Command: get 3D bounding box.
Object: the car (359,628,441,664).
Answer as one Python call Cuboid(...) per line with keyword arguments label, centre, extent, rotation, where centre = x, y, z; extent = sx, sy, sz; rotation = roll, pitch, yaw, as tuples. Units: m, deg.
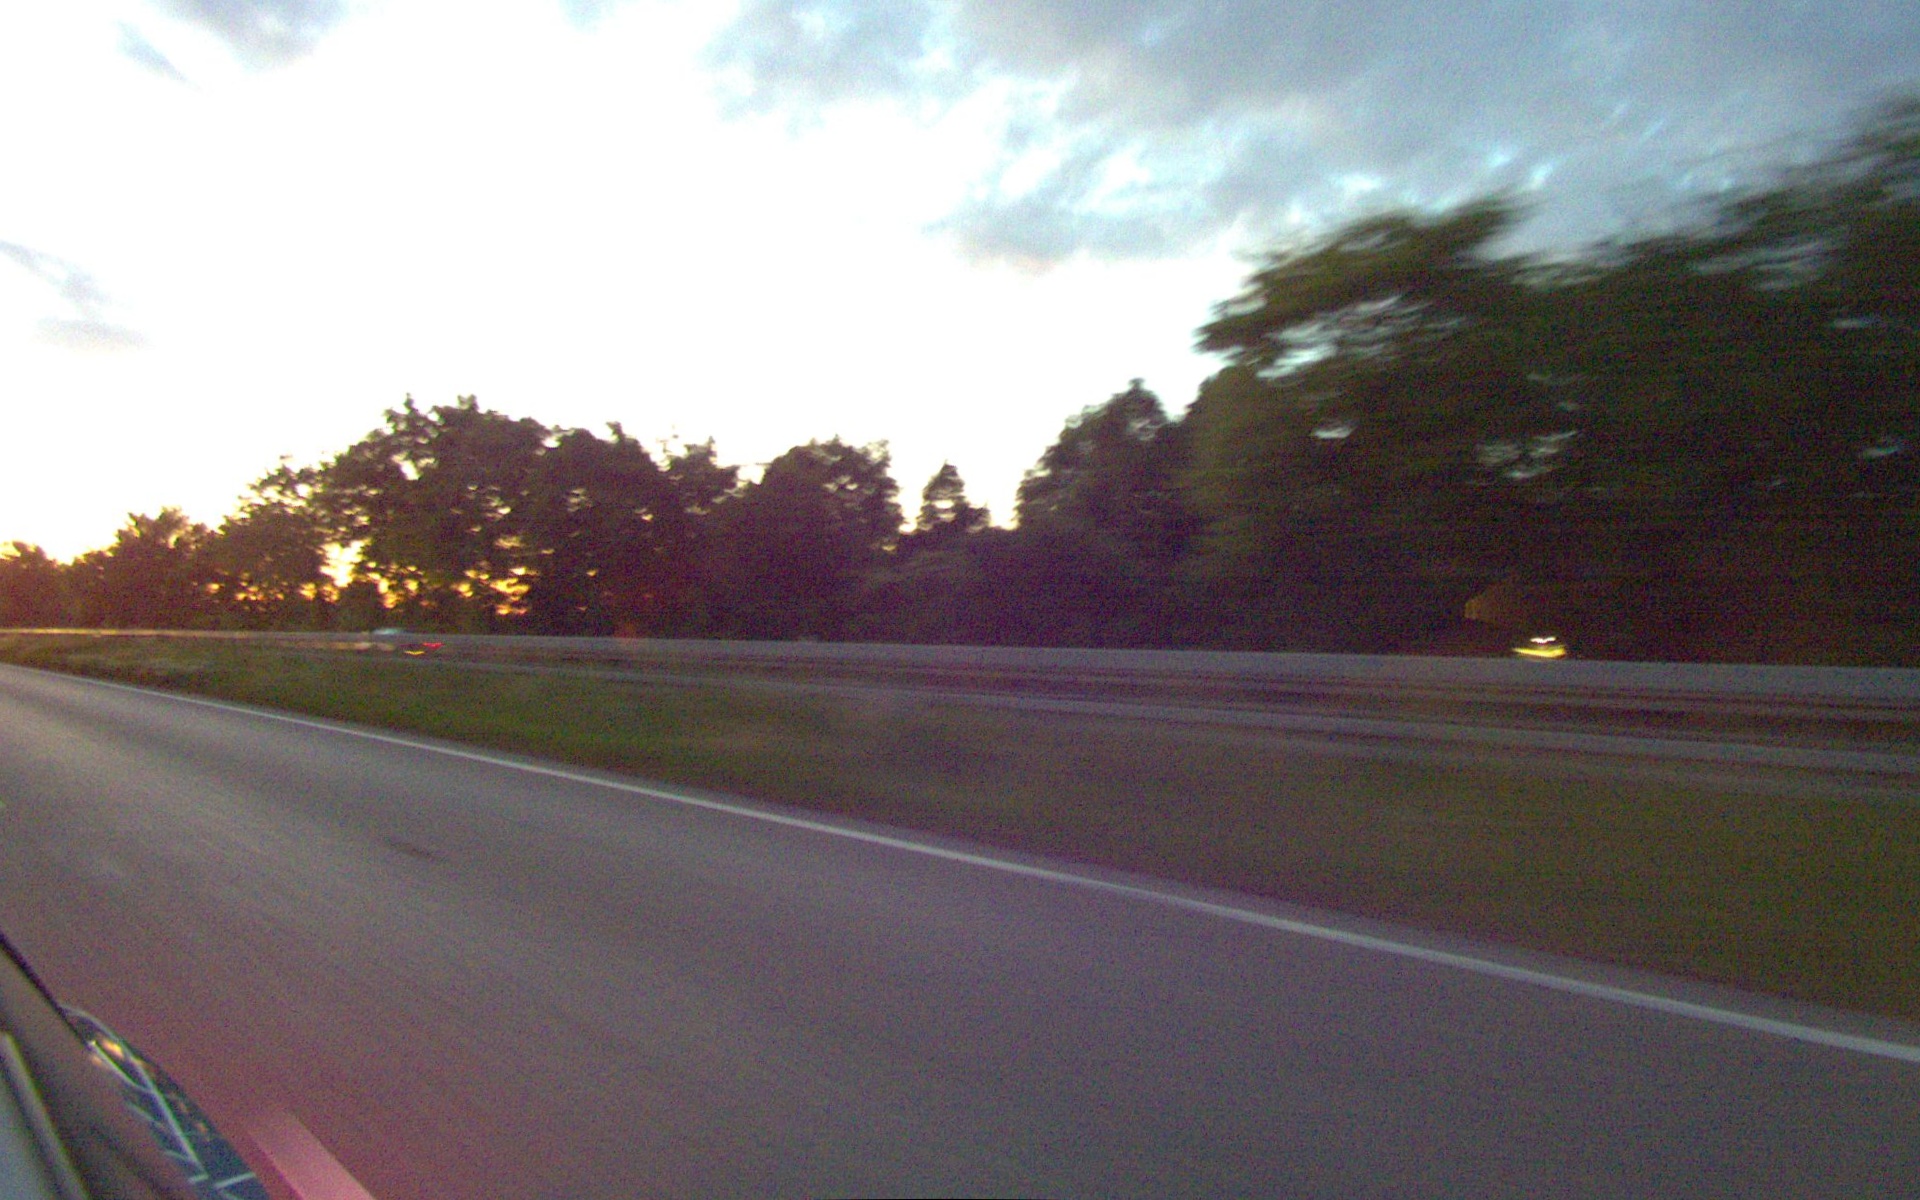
Cuboid(label="car", centre=(-22.112, 1.773, 39.896), extent=(3.938, 1.333, 1.612), rotation=(-1, -1, 41))
